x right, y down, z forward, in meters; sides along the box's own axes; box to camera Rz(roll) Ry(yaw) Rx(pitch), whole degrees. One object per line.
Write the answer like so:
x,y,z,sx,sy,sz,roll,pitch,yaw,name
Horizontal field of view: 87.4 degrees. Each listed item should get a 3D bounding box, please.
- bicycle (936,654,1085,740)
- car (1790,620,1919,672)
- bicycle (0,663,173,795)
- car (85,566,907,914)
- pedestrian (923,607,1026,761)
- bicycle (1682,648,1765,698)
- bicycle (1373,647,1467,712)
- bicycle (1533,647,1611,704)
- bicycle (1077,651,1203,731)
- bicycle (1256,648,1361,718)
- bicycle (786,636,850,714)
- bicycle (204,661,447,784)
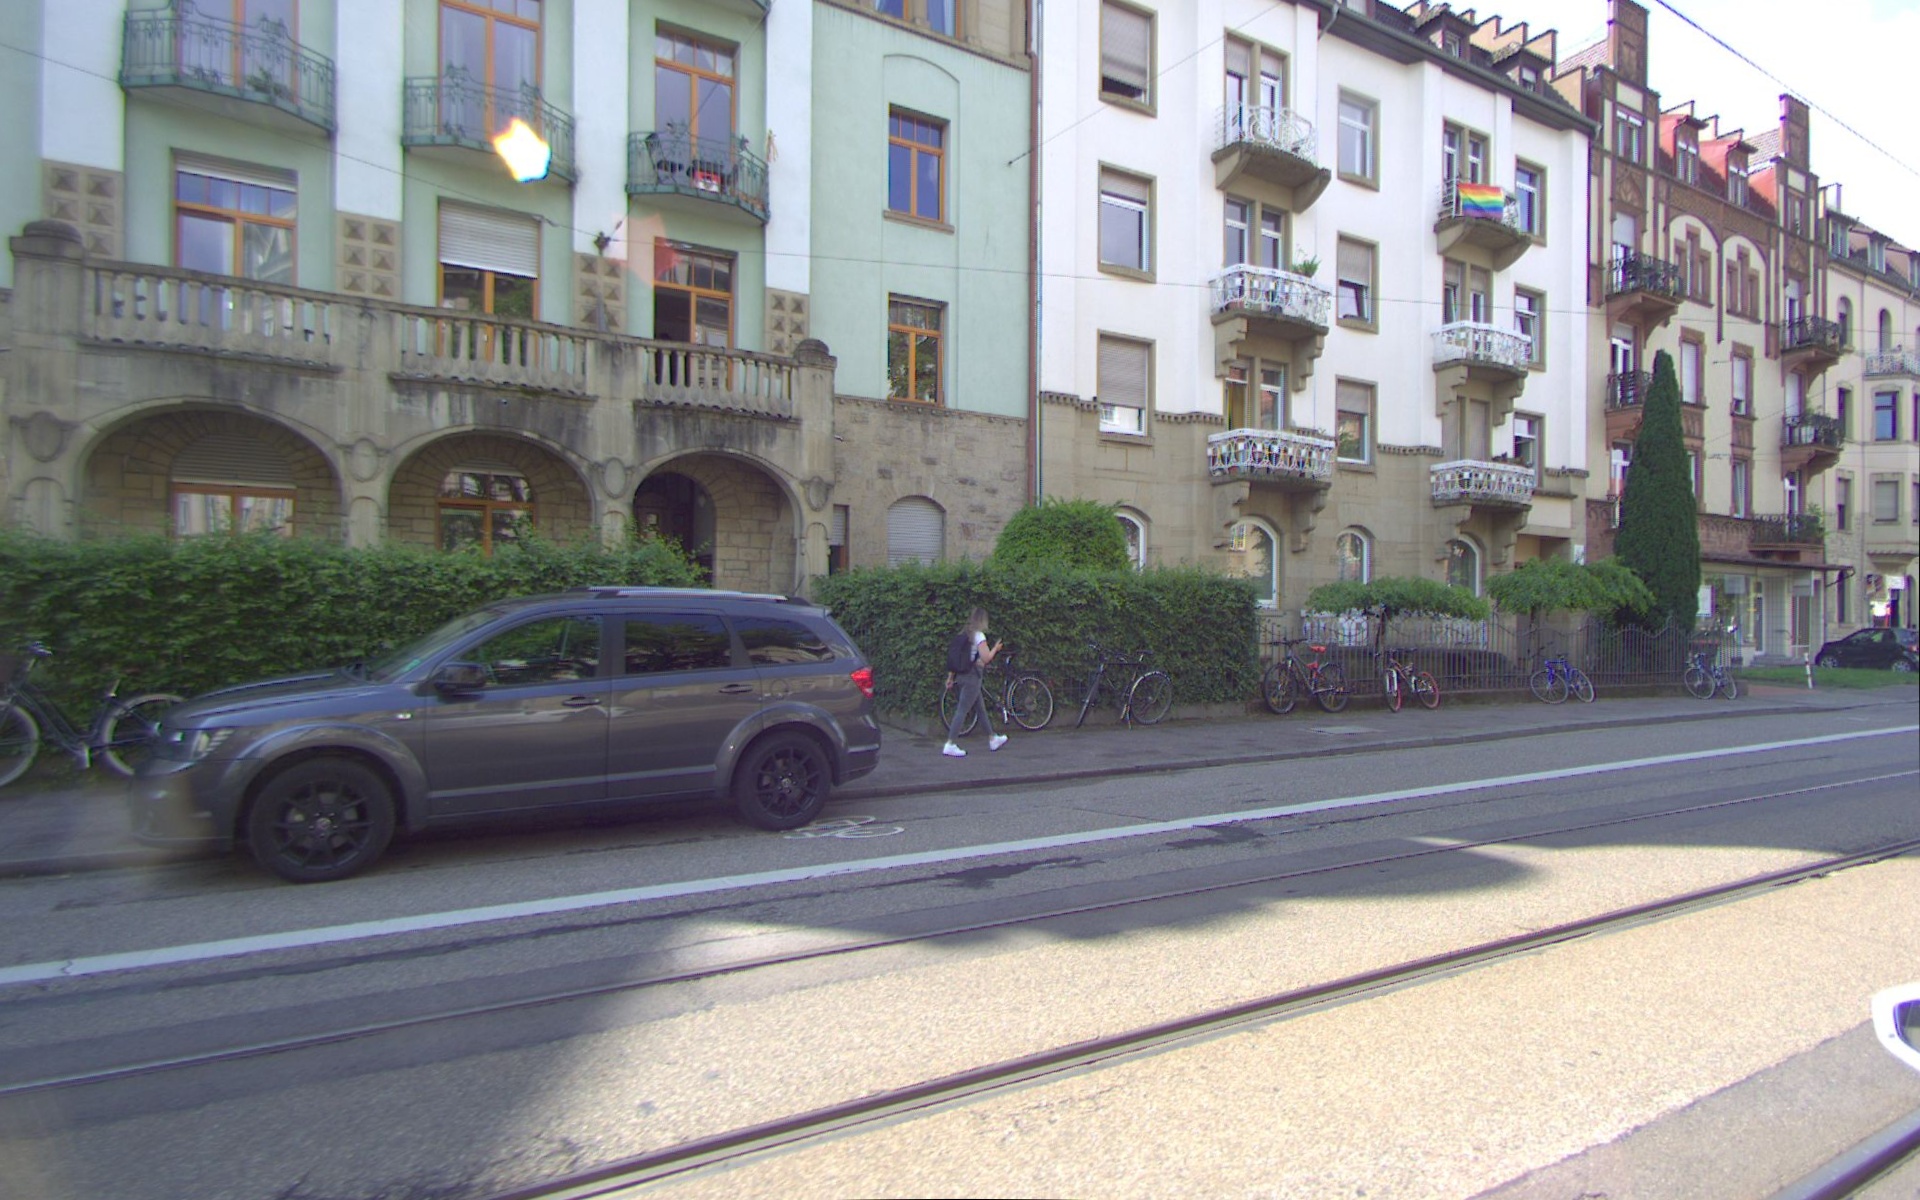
0.642,1.172,12.405,1.897,0.972,0.381,1,1,-28,bicycle
29.476,1.467,32.841,1.656,1.533,3.226,1,0,-26,car
-7.353,1.006,7.892,1.787,0.972,0.381,1,1,-28,bicycle
-2.907,0.772,7.217,4.829,1.786,1.775,1,-2,-32,car
0.153,0.881,10.947,0.870,1.589,0.677,1,1,-27,pedestrian
16.027,1.535,21.078,1.789,0.972,0.510,3,1,-23,bicycle
7.453,1.270,16.250,1.778,0.988,0.381,1,1,-28,bicycle
11.225,1.363,18.410,1.684,0.972,0.424,1,1,-28,bicycle
2.415,1.188,13.396,1.780,0.972,0.449,1,1,-31,bicycle
5.266,1.232,15.137,1.778,0.972,0.381,1,1,-28,bicycle
-2.069,1.061,14.532,0.389,1.004,1.386,1,1,-31,bicycle
-5.551,1.050,8.903,1.787,0.972,0.381,1,1,-28,bicycle
